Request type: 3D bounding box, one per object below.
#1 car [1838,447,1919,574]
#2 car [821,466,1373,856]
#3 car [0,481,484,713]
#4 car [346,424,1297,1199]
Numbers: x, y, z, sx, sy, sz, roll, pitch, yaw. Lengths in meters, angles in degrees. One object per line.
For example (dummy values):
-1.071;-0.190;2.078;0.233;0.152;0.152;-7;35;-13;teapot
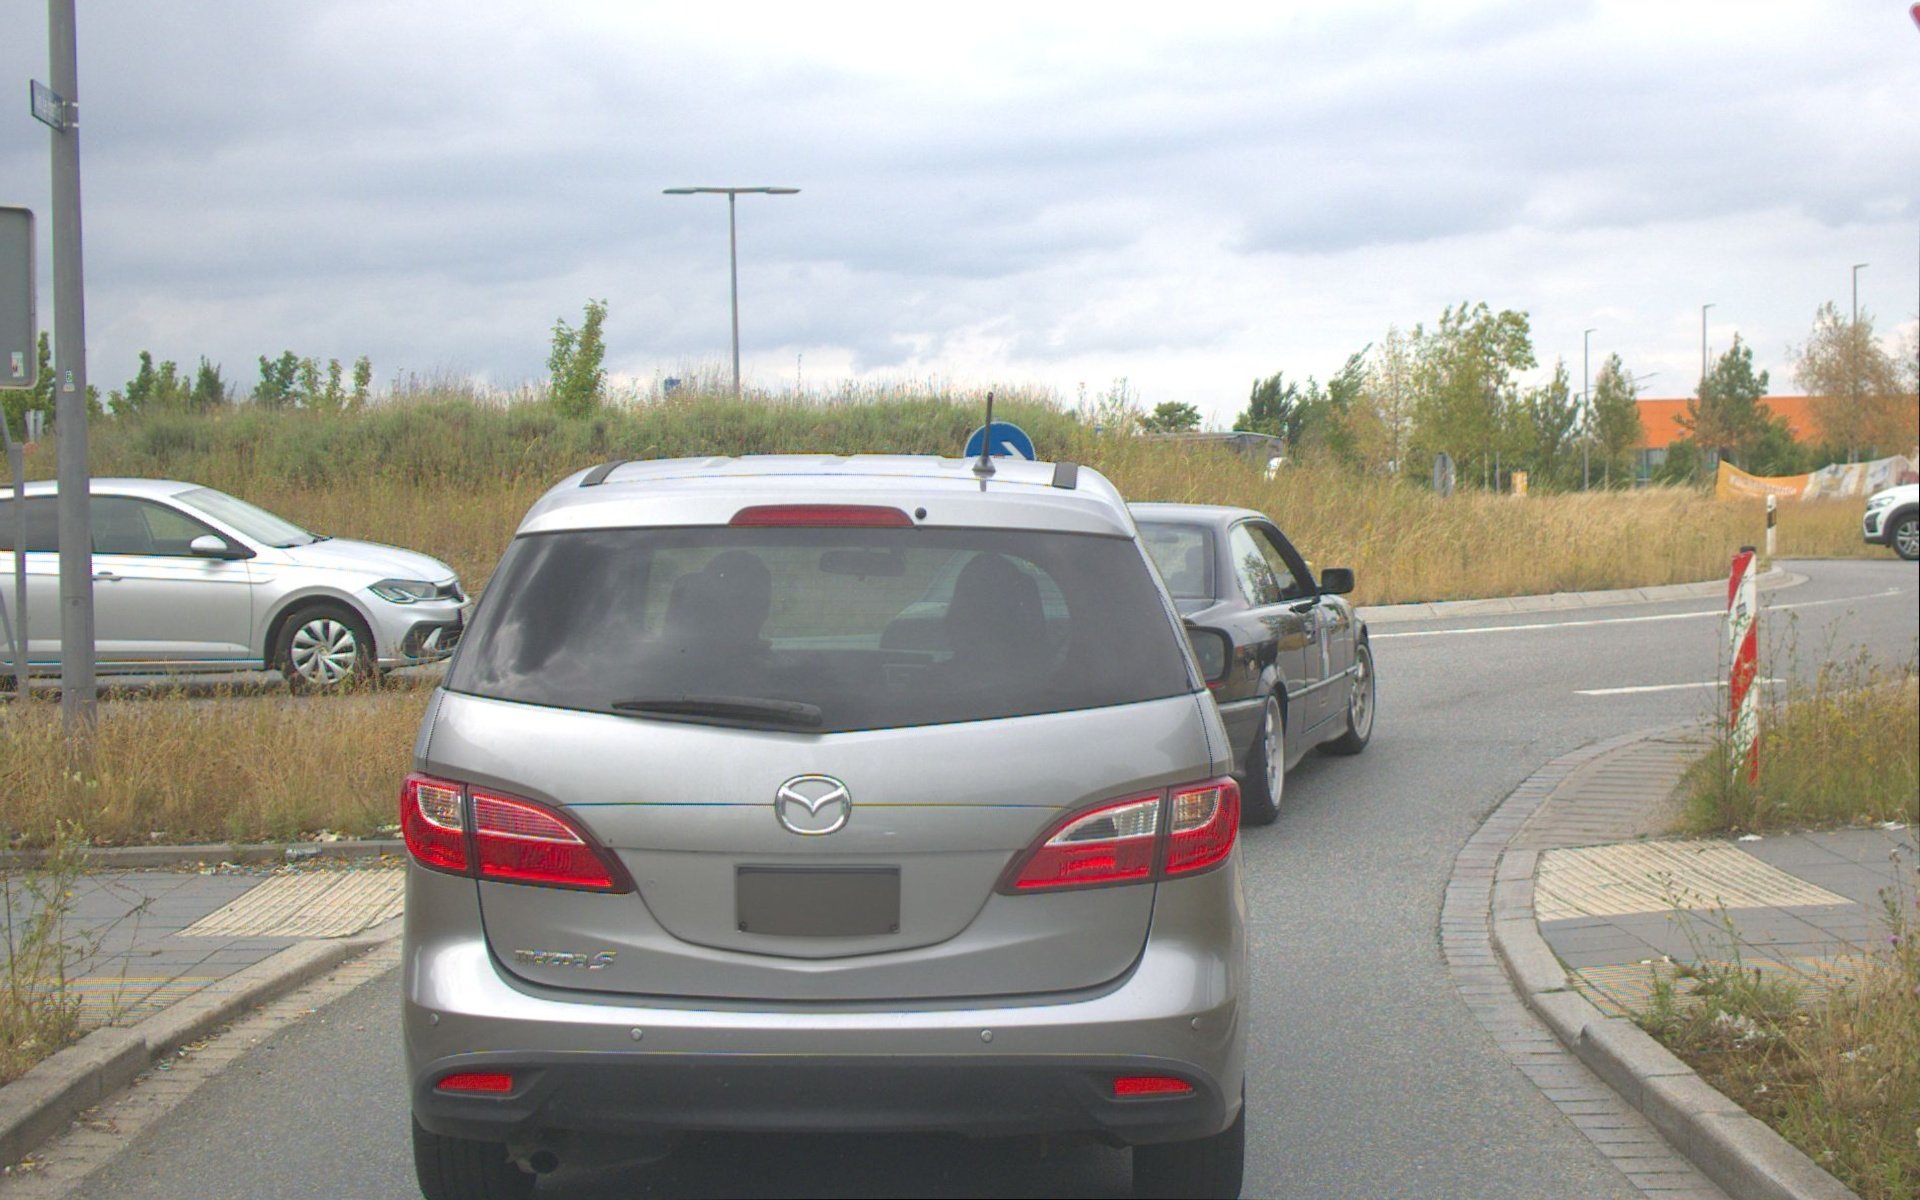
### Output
14.138;-1.236;46.010;4.332;1.642;1.868;0;4;25;car
0.760;0.159;15.704;1.739;1.398;3.996;1;4;14;car
-5.331;-0.030;22.989;3.987;1.459;1.813;1;0;2;car
-0.308;0.408;8.338;1.738;1.593;3.998;1;2;-1;car
